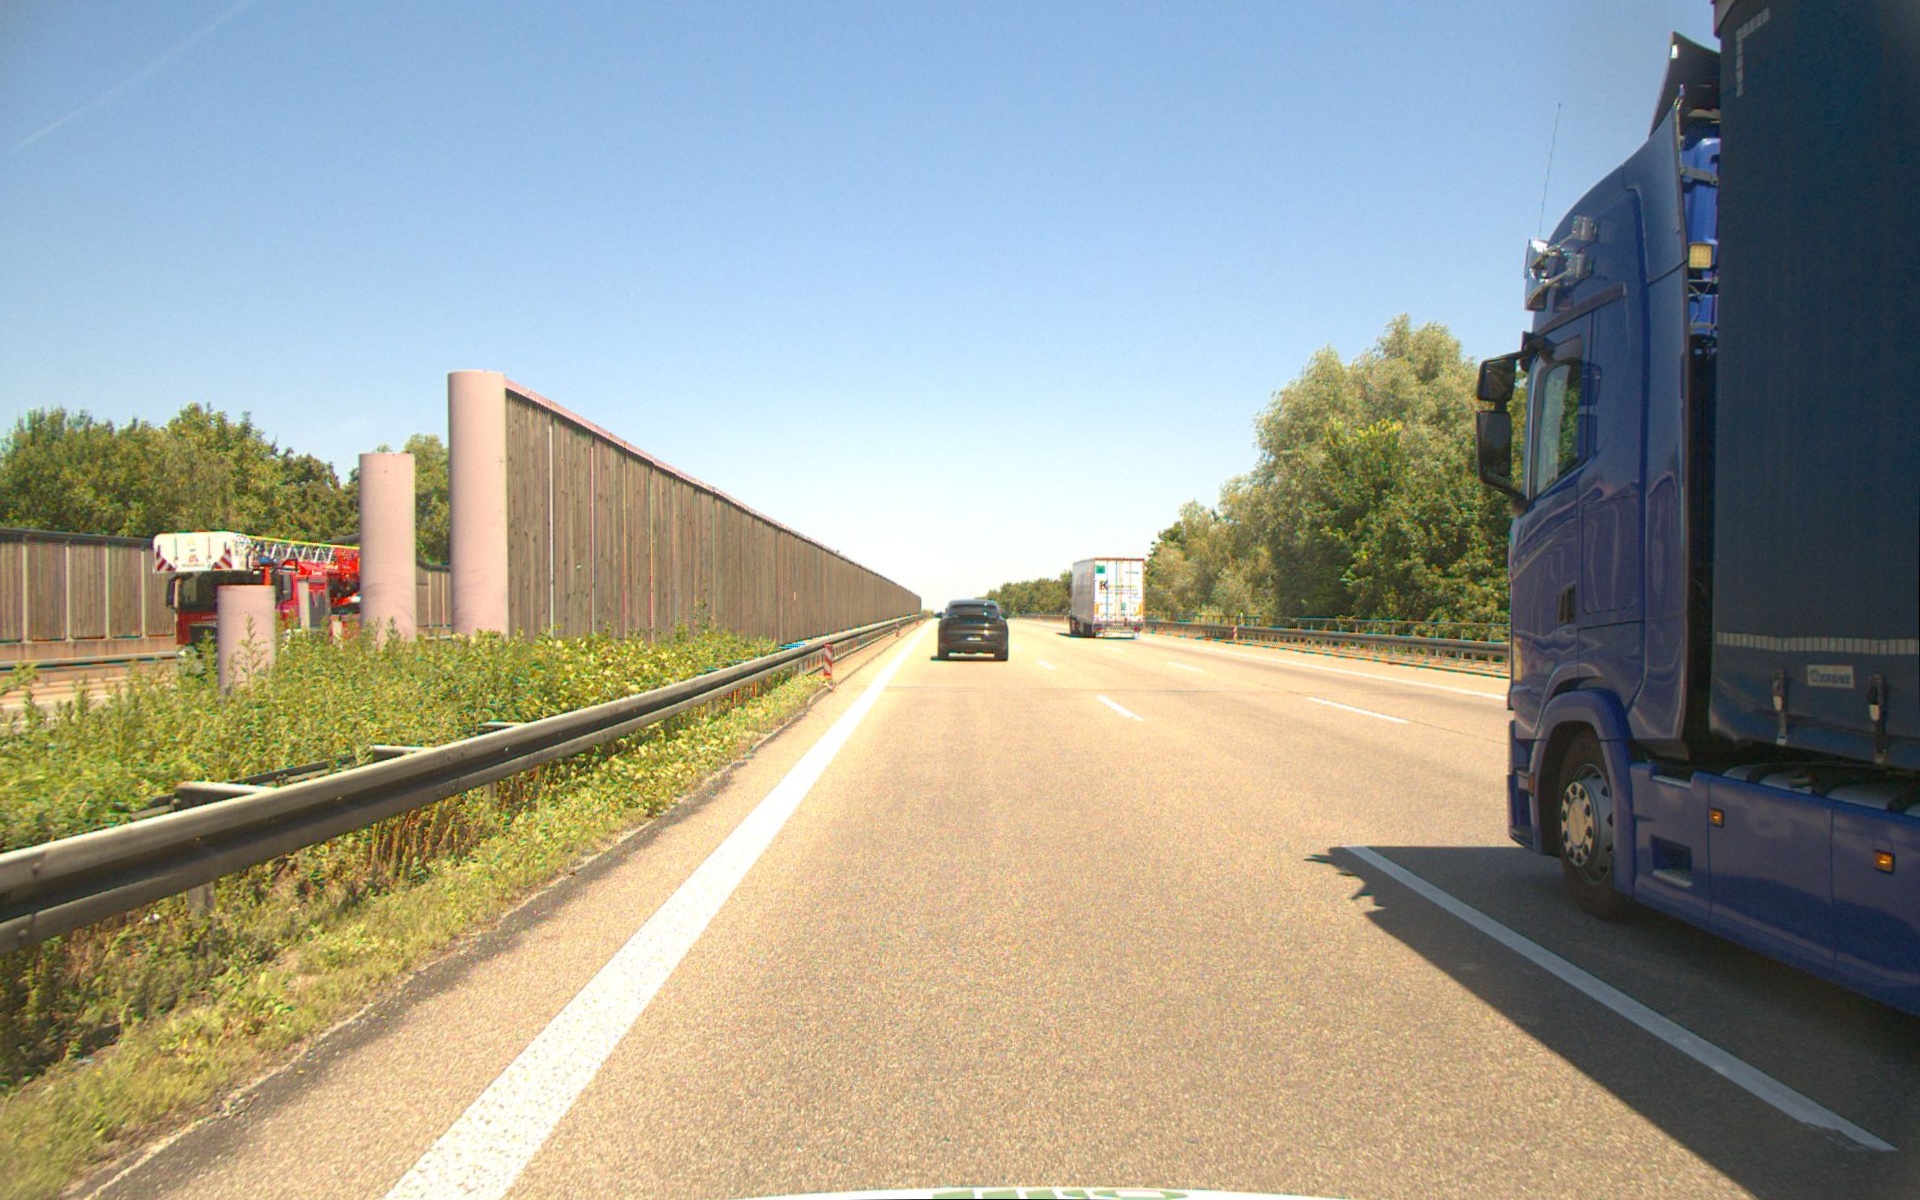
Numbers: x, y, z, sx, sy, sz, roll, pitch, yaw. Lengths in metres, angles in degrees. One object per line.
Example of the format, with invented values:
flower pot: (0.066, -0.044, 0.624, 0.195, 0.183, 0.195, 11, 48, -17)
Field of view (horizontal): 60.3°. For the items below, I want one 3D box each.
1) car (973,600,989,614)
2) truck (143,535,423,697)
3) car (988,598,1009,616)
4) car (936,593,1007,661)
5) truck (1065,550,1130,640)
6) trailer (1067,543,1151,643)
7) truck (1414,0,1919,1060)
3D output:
car: (2.548, 0.888, 202.180, 1.864, 1.612, 4.303, -1, -1, 0)
truck: (-16.750, 0.389, 42.050, 2.644, 3.553, 10.852, 1, 0, 0)
car: (3.486, 0.640, 150.346, 1.864, 1.612, 4.303, -1, -1, 0)
car: (0.285, 0.736, 46.522, 1.842, 1.823, 3.998, 0, 0, -2)
truck: (7.913, -0.278, 95.992, 3.168, 4.975, 6.971, 1, 0, 0)
trailer: (7.903, -0.309, 89.418, 3.202, 4.922, 14.027, 1, 0, 0)
truck: (4.336, -0.615, 7.176, 2.646, 4.190, 6.988, 1, 0, -1)
